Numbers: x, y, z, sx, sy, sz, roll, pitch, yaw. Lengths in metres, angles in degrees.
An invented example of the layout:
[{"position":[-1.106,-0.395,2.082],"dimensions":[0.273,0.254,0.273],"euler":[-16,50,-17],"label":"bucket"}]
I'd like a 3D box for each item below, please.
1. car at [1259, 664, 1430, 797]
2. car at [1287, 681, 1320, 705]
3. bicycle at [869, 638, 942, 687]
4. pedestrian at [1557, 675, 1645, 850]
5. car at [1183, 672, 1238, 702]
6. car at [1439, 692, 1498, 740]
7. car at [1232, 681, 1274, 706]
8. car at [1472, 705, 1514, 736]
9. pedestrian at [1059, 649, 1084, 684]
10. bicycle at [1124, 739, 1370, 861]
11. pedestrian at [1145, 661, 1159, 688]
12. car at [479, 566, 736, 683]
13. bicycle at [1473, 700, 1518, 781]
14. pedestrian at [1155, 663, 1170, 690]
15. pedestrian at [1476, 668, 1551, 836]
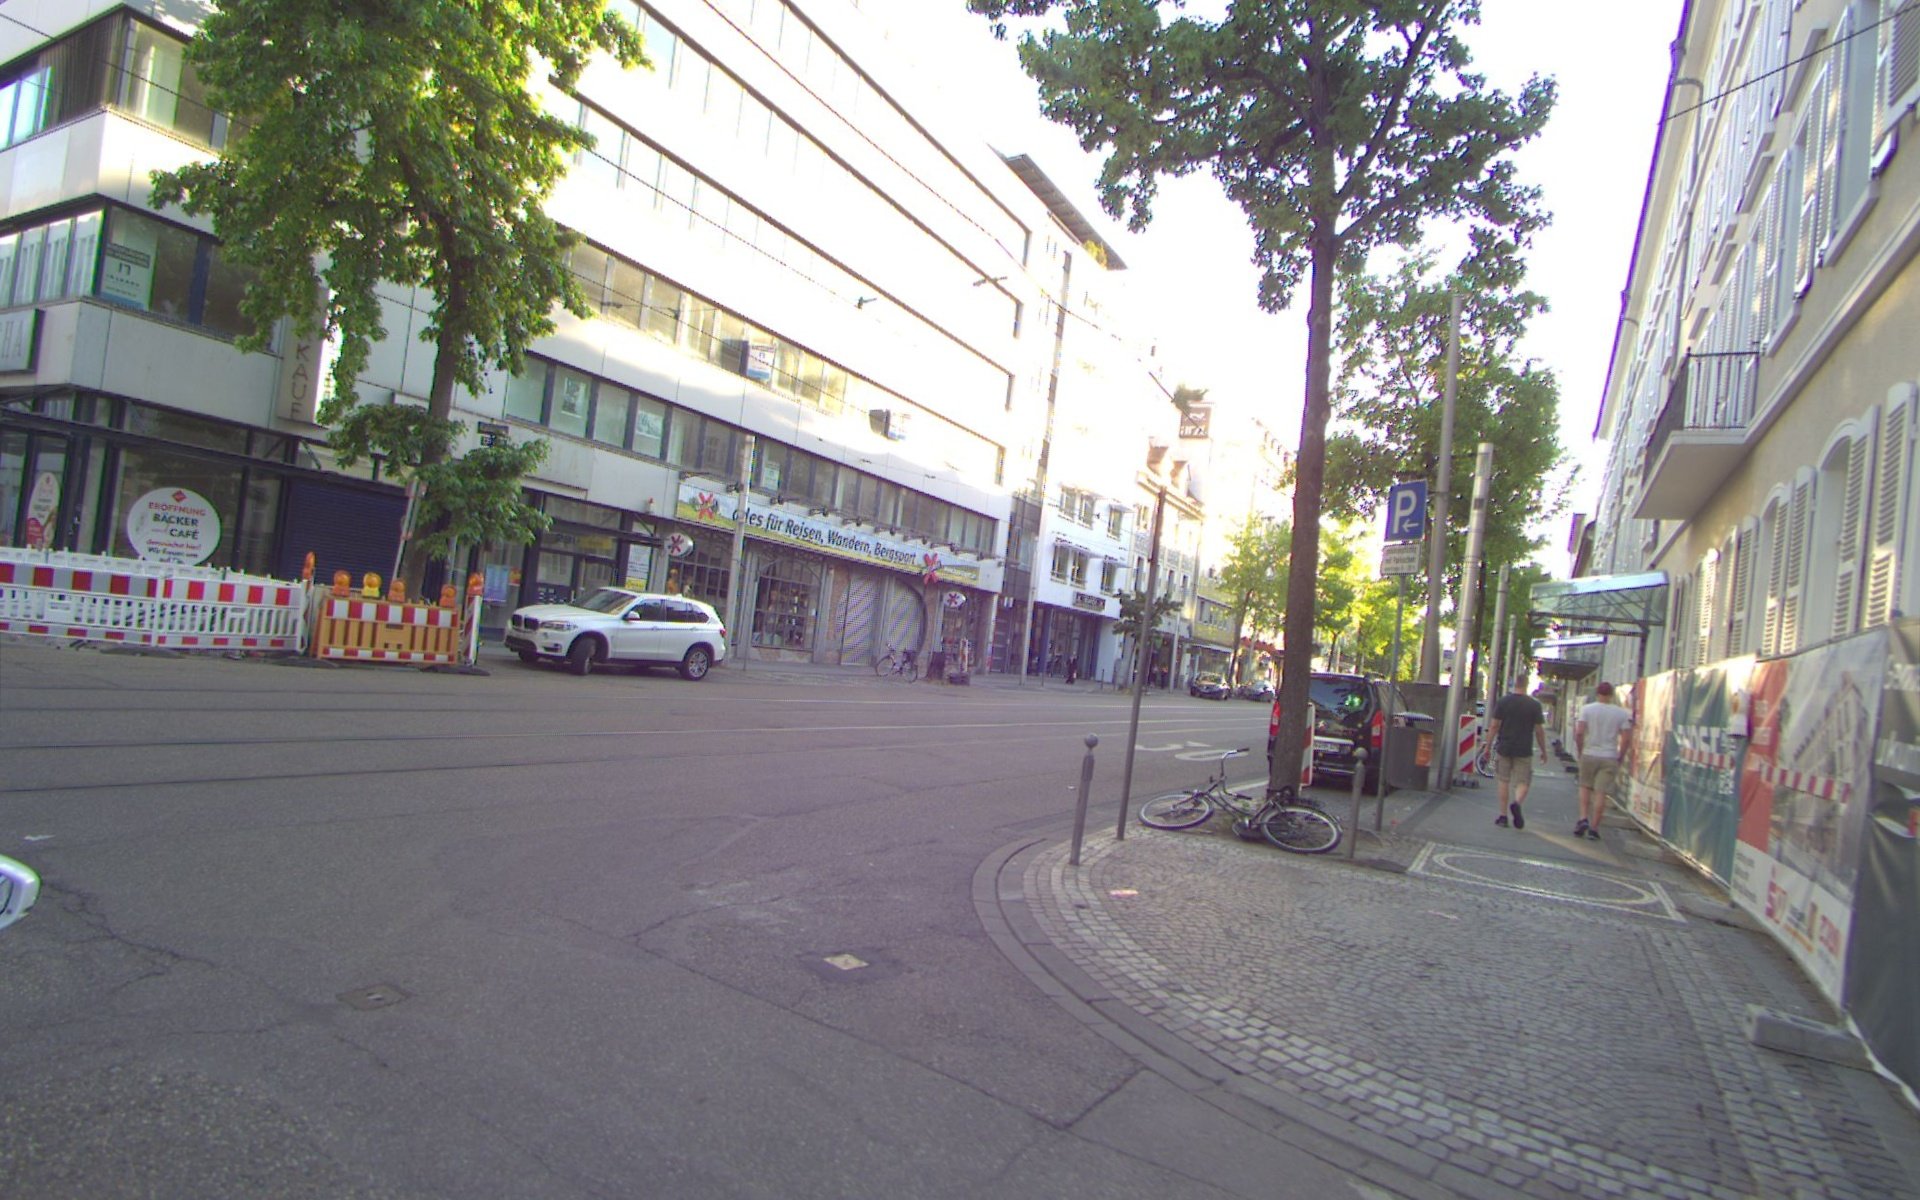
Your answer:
[{"position":[6.430,2.105,16.564],"dimensions":[1.746,1.784,3.870],"euler":[3,-4,34],"label":"car"},{"position":[28.323,7.659,82.884],"dimensions":[1.870,1.712,4.103],"euler":[6,-3,28],"label":"car"},{"position":[-1.712,1.949,31.345],"dimensions":[2.132,1.173,0.759],"euler":[9,1,37],"label":"bicycle"},{"position":[7.567,1.883,11.918],"dimensions":[0.747,1.906,0.878],"euler":[4,-2,31],"label":"pedestrian"},{"position":[14.832,5.144,59.412],"dimensions":[1.970,1.378,4.101],"euler":[8,-2,30],"label":"car"},{"position":[22.420,5.101,44.265],"dimensions":[1.966,1.757,4.101],"euler":[6,-3,30],"label":"car"},{"position":[19.812,6.300,67.832],"dimensions":[1.710,1.334,4.102],"euler":[8,-1,29],"label":"car"},{"position":[31.690,7.125,59.779],"dimensions":[1.966,1.520,4.101],"euler":[6,-3,30],"label":"car"},{"position":[5.352,3.192,48.126],"dimensions":[0.718,1.577,0.837],"euler":[7,0,33],"label":"pedestrian"},{"position":[2.766,1.844,9.607],"dimensions":[2.040,0.714,1.331],"euler":[5,-3,25],"label":"bicycle"},{"position":[11.750,4.560,61.575],"dimensions":[0.470,1.566,0.747],"euler":[6,0,31],"label":"pedestrian"},{"position":[-7.159,0.588,20.941],"dimensions":[1.967,1.791,4.664],"euler":[8,-1,32],"label":"car"},{"position":[11.491,2.987,21.566],"dimensions":[0.692,1.568,2.182],"euler":[4,-3,30],"label":"bicycle"},{"position":[12.326,4.636,61.181],"dimensions":[0.470,1.575,0.747],"euler":[7,0,31],"label":"pedestrian"},{"position":[6.755,1.824,12.258],"dimensions":[0.669,1.906,0.768],"euler":[4,-2,31],"label":"pedestrian"}]
